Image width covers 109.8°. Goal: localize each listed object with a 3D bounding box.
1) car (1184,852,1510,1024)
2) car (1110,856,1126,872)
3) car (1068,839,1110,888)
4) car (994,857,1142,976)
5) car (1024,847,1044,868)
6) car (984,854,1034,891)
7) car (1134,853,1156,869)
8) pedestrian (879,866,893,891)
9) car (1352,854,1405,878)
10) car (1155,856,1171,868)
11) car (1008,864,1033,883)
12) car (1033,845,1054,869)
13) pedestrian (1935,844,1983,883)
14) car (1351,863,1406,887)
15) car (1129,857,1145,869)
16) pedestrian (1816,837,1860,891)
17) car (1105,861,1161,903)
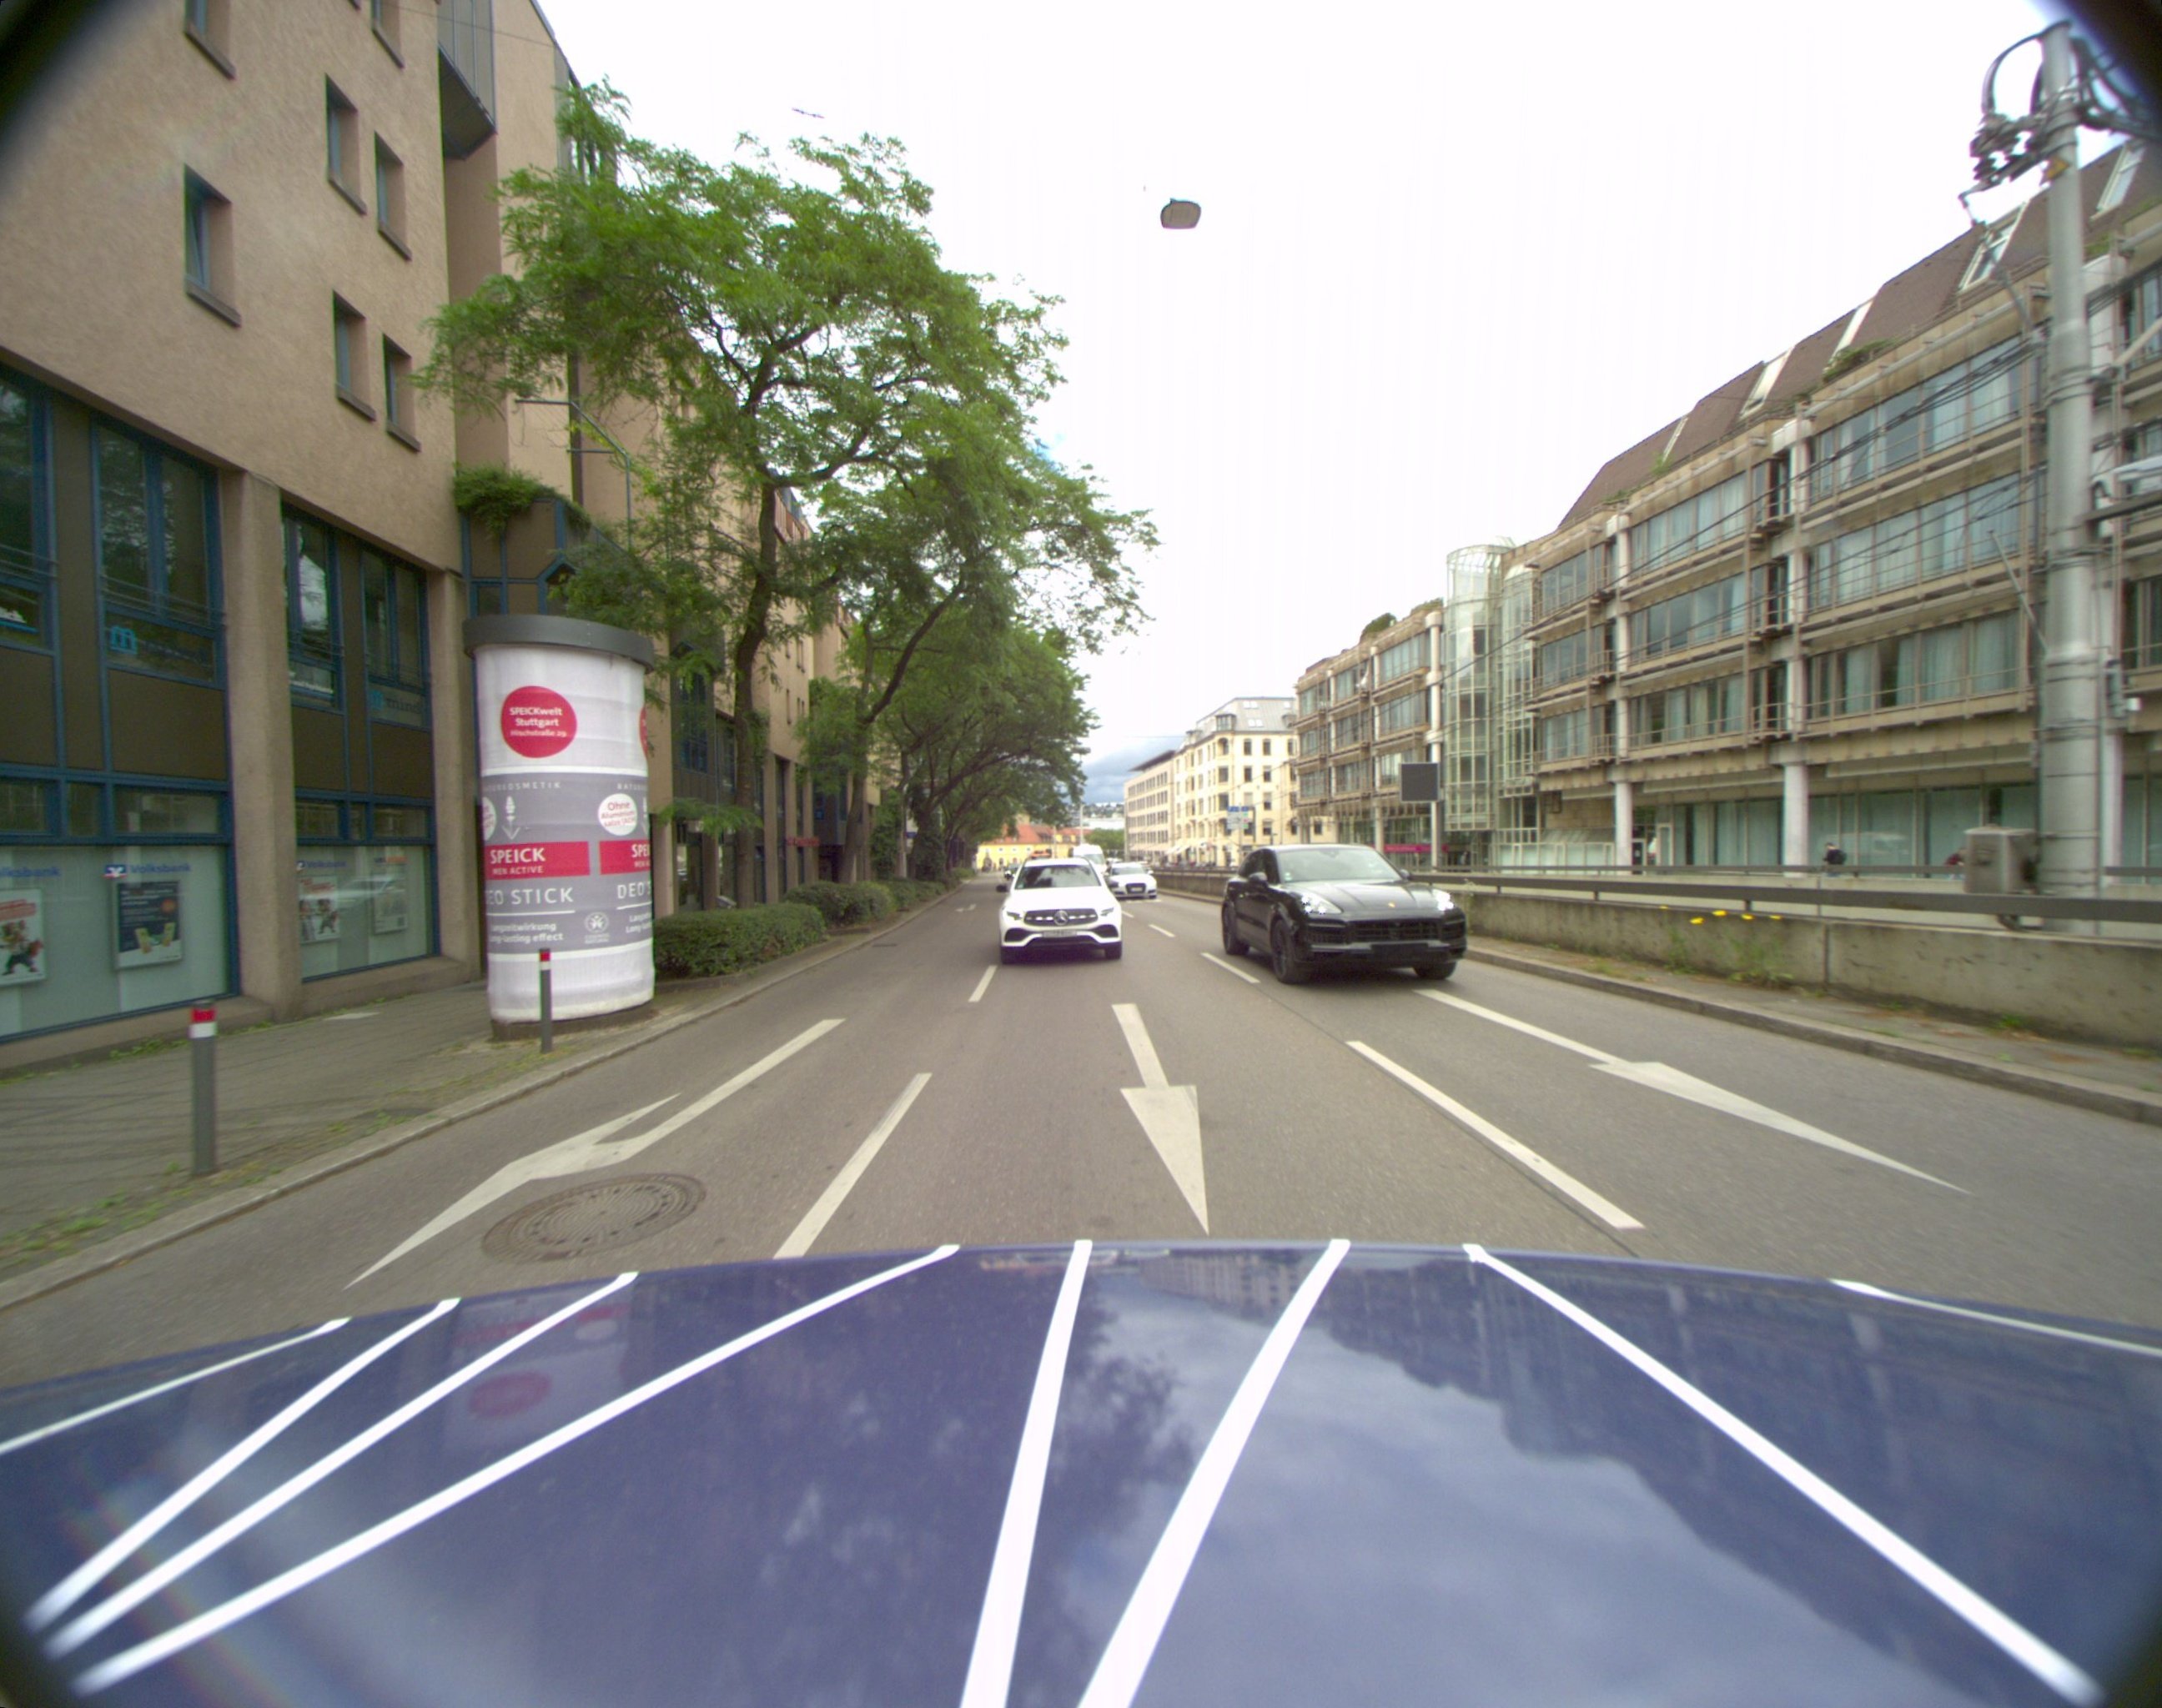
[{"bbox_3d":[3.080,0.861,10.362,2.089,1.665,5.349,-2,0,-6],"label":"car"},{"bbox_3d":[7.623,2.009,157.074,2.371,3.042,5.467,-3,0,-6],"label":"car"},{"bbox_3d":[0.517,0.558,46.146,2.294,2.723,4.754,-3,0,2],"label":"car"},{"bbox_3d":[-0.372,0.900,12.839,2.061,1.599,3.925,-3,0,-6],"label":"car"},{"bbox_3d":[-6.416,0.468,104.004,2.504,2.792,5.726,-3,0,-4],"label":"car"},{"bbox_3d":[-4.604,1.148,49.592,2.503,2.144,5.728,-3,0,1],"label":"car"},{"bbox_3d":[7.995,0.903,95.738,1.839,1.831,4.603,-5,0,-5],"label":"car"},{"bbox_3d":[-13.145,1.647,51.244,0.711,1.701,0.688,-2,-1,1],"label":"pedestrian"},{"bbox_3d":[19.511,0.777,50.080,1.669,1.492,4.042,-1,0,-4],"label":"car"},{"bbox_3d":[14.248,1.344,131.908,1.999,2.001,3.998,-1,-1,-6],"label":"car"},{"bbox_3d":[-5.386,1.737,67.607,1.950,1.521,3.999,-3,0,-2],"label":"car"},{"bbox_3d":[-4.805,0.354,96.660,2.504,2.792,5.726,-3,0,-4],"label":"car"},{"bbox_3d":[29.566,0.325,25.596,0.732,1.258,0.739,-3,0,-5],"label":"pedestrian"},{"bbox_3d":[19.541,1.343,50.105,1.669,1.492,4.412,-1,0,-4],"label":"car"},{"bbox_3d":[9.961,1.587,136.348,1.999,2.002,4.788,-3,0,-6],"label":"car"},{"bbox_3d":[26.159,0.336,26.271,0.732,1.801,0.739,-3,0,-5],"label":"pedestrian"},{"bbox_3d":[2.096,1.124,31.603,1.949,1.521,4.000,-3,0,0],"label":"car"}]
